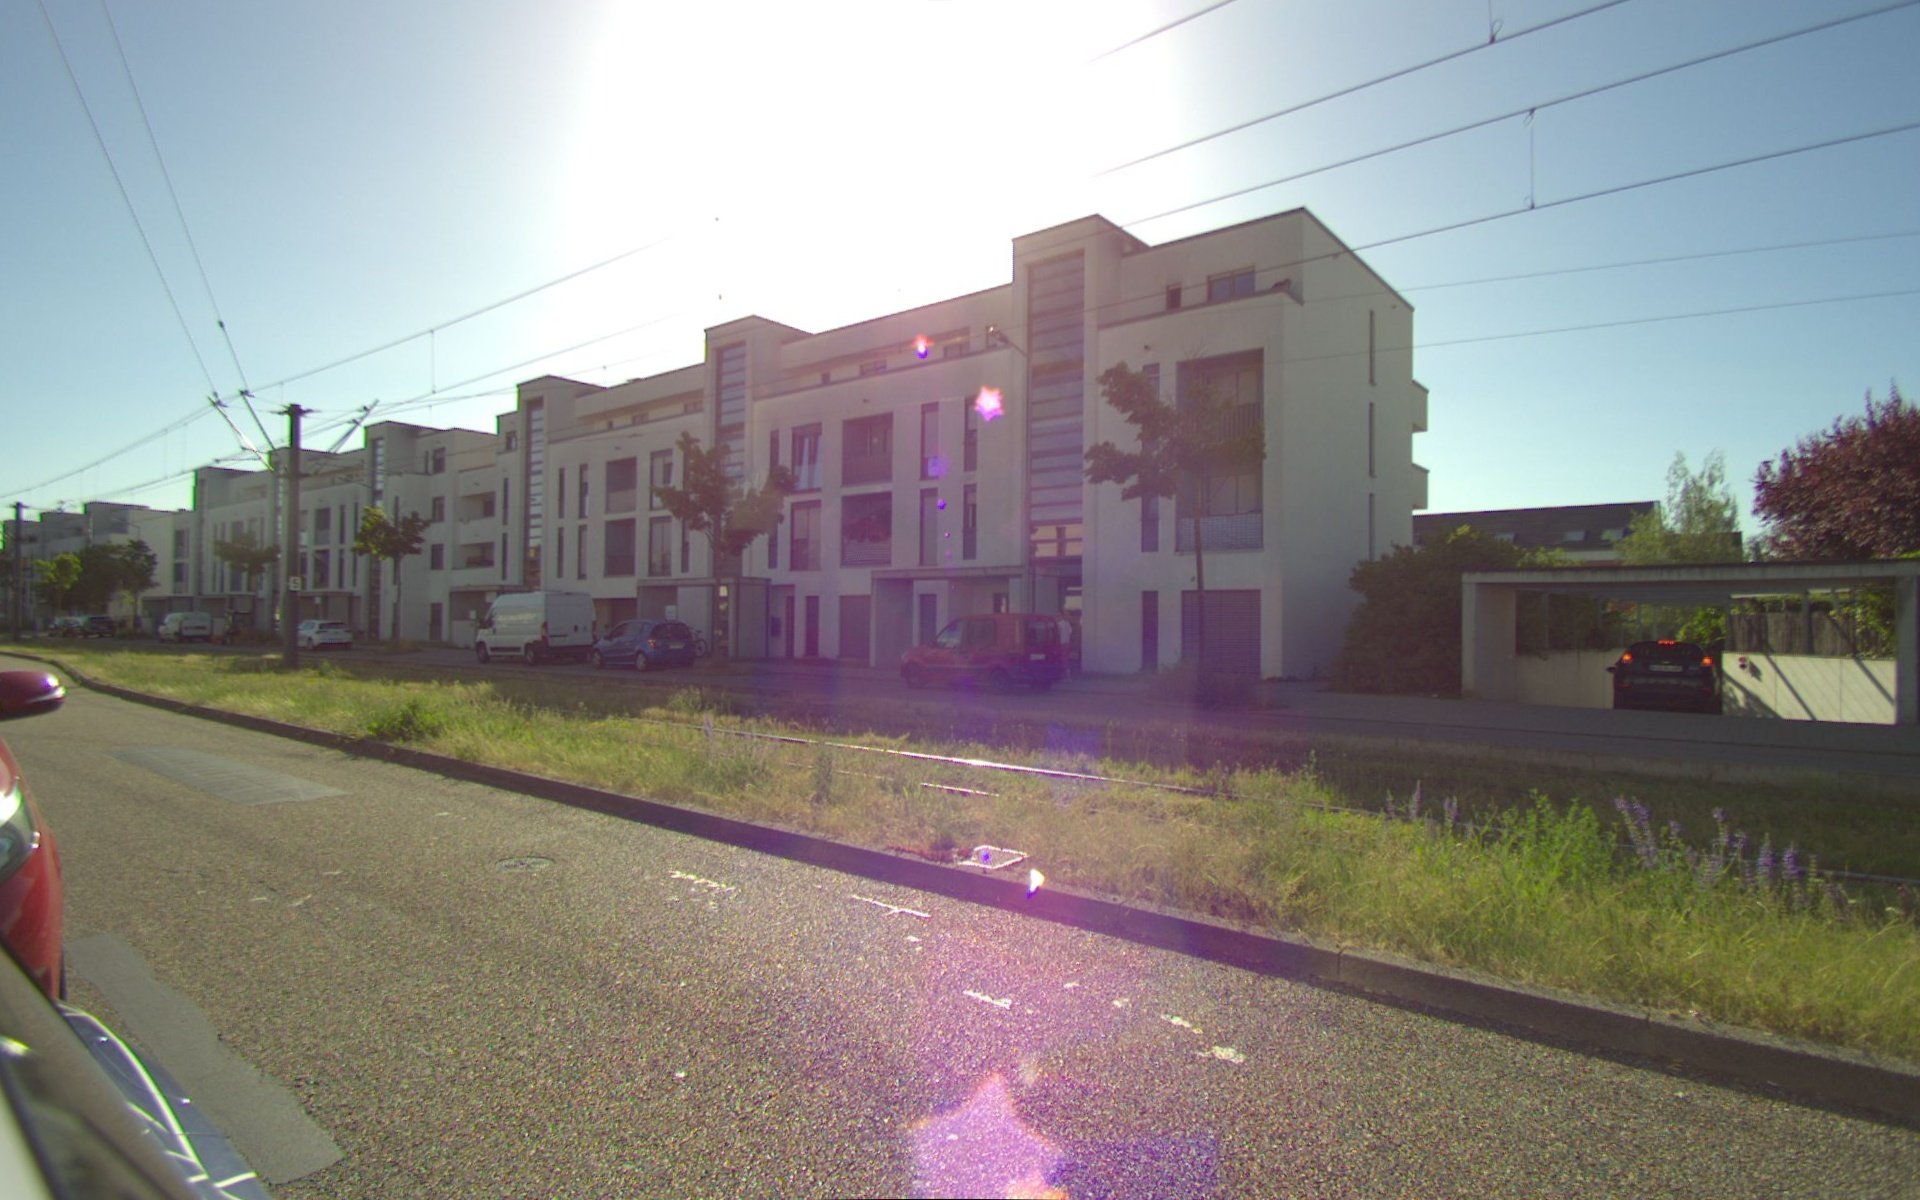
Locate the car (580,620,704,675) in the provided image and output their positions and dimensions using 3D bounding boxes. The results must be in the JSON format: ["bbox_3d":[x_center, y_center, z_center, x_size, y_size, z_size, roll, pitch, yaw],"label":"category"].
[{"bbox_3d":[-9.999,1.448,31.741,3.833,1.556,1.973,-1,0,40],"label":"car"}]

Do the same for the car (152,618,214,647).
[{"bbox_3d":[-47.355,1.962,61.625,4.277,1.693,1.900,-1,0,37],"label":"car"}]

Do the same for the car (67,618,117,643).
[{"bbox_3d":[-62.976,2.165,73.406,4.277,1.693,1.900,-1,0,37],"label":"car"}]

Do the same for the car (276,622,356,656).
[{"bbox_3d":[-31.135,1.839,48.900,4.277,1.517,1.900,-1,0,37],"label":"car"}]

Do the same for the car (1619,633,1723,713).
[{"bbox_3d":[14.348,1.513,20.367,1.574,1.337,3.950,-1,-7,37],"label":"car"}]

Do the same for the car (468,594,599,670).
[{"bbox_3d":[-15.194,1.075,35.946,5.193,2.491,2.197,-1,0,40],"label":"car"}]

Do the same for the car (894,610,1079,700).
[{"bbox_3d":[0.539,1.168,23.020,3.895,1.842,1.972,-1,0,43],"label":"car"}]

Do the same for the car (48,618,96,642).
[{"bbox_3d":[-67.521,2.255,76.930,4.277,1.693,1.900,-1,0,37],"label":"car"}]

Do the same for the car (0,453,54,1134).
[{"bbox_3d":[-4.862,0.558,3.647,4.505,1.868,1.850,-1,0,41],"label":"car"}]

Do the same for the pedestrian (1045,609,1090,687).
[{"bbox_3d":[2.586,1.134,24.339,0.785,1.836,0.766,-1,0,41],"label":"pedestrian"}]
